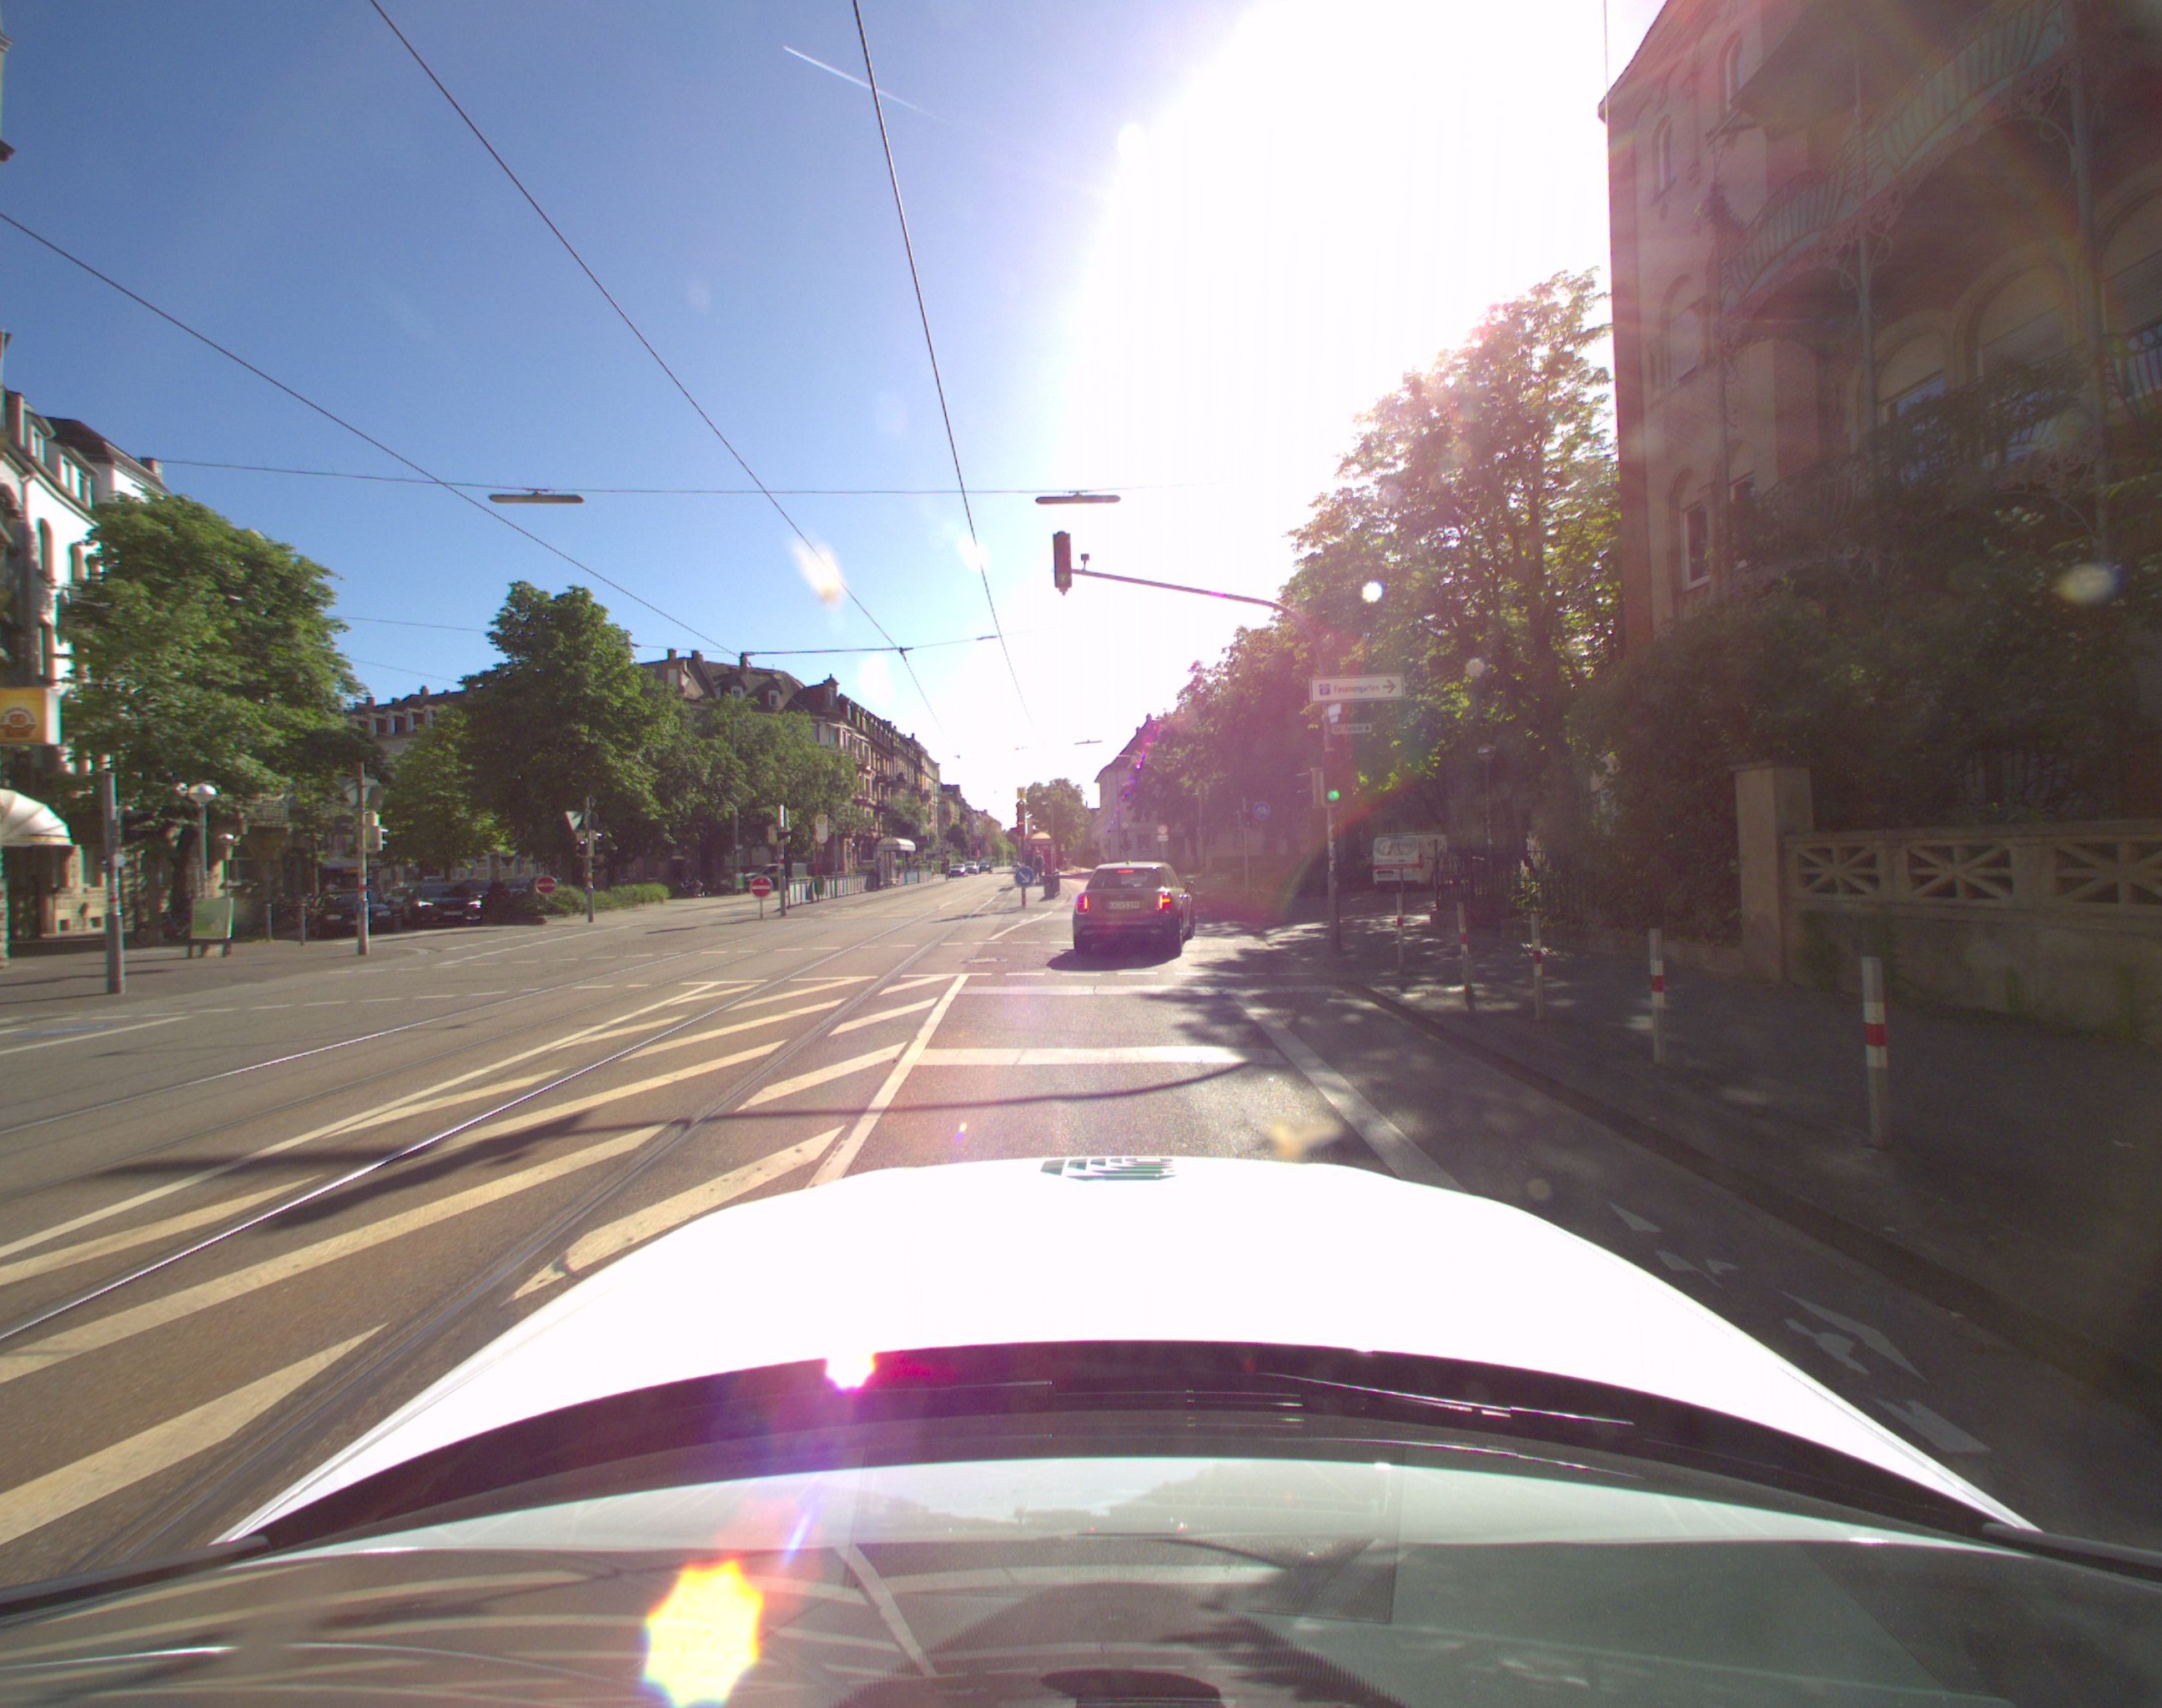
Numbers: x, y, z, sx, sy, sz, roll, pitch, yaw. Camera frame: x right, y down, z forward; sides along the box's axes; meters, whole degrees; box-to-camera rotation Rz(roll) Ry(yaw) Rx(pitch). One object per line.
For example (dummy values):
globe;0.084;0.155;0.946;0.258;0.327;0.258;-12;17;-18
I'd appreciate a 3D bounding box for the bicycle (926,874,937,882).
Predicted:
bicycle;-14.818;2.352;80.671;0.716;0.750;1.916;-1;-1;1

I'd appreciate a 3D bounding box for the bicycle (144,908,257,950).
bicycle;-24.035;2.030;22.273;0.602;0.980;2.051;-2;-2;36

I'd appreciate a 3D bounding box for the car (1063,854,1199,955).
car;1.010;0.798;14.143;1.804;1.488;4.012;-1;-1;11

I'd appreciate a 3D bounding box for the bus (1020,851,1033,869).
bus;-10.798;1.185;159.789;2.381;3.497;7.370;-1;-1;-5

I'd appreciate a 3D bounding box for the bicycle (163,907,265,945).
bicycle;-26.225;2.162;24.681;0.602;0.980;2.051;-2;-2;36

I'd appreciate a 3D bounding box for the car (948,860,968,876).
car;-13.060;1.522;86.458;1.772;1.618;3.994;-1;-1;-4

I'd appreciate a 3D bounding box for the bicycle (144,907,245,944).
bicycle;-27.192;2.171;25.014;0.602;0.980;2.051;-2;-2;36

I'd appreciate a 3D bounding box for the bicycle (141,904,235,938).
bicycle;-29.797;2.213;27.202;0.602;0.980;2.051;-2;-2;36

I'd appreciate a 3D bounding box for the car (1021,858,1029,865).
car;-12.781;1.632;185.006;1.860;1.563;3.994;-1;-1;-4

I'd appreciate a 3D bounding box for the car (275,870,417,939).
car;-22.975;1.533;25.463;3.949;2.014;2.012;-2;-2;27

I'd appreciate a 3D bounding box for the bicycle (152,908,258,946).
bicycle;-25.721;2.117;23.949;0.602;0.980;2.051;-2;-2;36

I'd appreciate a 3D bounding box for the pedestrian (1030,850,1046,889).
pedestrian;-2.242;0.817;42.833;0.793;2.014;0.740;-1;-2;-2

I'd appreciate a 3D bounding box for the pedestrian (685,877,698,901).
pedestrian;-20.539;1.837;42.972;0.580;1.202;0.603;-3;-1;-25

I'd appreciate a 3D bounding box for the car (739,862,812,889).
car;-24.070;1.685;64.335;5.057;2.014;1.975;0;-2;-44

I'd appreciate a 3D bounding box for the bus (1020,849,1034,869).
bus;-10.186;1.030;152.402;2.381;3.497;7.370;-1;-1;-5

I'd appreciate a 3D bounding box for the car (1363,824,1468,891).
car;12.146;0.157;29.415;2.098;2.208;4.975;-2;-2;39

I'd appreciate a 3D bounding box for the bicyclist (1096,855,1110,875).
bicyclist;2.048;1.025;76.361;1.045;1.811;0.825;-2;-2;33

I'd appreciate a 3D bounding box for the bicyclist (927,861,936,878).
bicyclist;-14.828;1.558;80.736;0.711;1.665;0.735;-1;-2;1

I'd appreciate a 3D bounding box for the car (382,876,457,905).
car;-49.866;2.746;61.420;4.542;2.014;2.007;-1;-1;13

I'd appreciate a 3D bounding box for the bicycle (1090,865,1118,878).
bicycle;2.114;1.660;76.319;2.506;1.156;0.850;-2;-2;33

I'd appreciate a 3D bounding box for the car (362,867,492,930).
car;-22.231;1.483;27.676;3.949;2.014;2.012;-2;-2;27

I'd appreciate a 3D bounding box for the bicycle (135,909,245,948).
bicycle;-25.306;2.096;23.181;0.602;0.980;2.051;-2;-2;36

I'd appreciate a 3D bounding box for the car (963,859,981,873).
car;-12.991;1.436;97.274;1.772;1.618;3.994;-1;-1;-4

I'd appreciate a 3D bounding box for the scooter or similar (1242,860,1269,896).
scooter or similar;6.505;0.887;30.452;0.674;1.310;1.328;-1;-1;-2

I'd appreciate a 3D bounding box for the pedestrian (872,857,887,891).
pedestrian;-10.768;1.077;43.544;0.605;1.795;0.578;-2;-1;-4

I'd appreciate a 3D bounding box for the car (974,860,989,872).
car;-13.421;1.639;110.465;1.772;1.618;3.994;-1;-1;-4

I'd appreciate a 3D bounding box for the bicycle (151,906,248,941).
bicycle;-28.173;2.212;26.067;0.602;0.980;2.051;-2;-2;36
